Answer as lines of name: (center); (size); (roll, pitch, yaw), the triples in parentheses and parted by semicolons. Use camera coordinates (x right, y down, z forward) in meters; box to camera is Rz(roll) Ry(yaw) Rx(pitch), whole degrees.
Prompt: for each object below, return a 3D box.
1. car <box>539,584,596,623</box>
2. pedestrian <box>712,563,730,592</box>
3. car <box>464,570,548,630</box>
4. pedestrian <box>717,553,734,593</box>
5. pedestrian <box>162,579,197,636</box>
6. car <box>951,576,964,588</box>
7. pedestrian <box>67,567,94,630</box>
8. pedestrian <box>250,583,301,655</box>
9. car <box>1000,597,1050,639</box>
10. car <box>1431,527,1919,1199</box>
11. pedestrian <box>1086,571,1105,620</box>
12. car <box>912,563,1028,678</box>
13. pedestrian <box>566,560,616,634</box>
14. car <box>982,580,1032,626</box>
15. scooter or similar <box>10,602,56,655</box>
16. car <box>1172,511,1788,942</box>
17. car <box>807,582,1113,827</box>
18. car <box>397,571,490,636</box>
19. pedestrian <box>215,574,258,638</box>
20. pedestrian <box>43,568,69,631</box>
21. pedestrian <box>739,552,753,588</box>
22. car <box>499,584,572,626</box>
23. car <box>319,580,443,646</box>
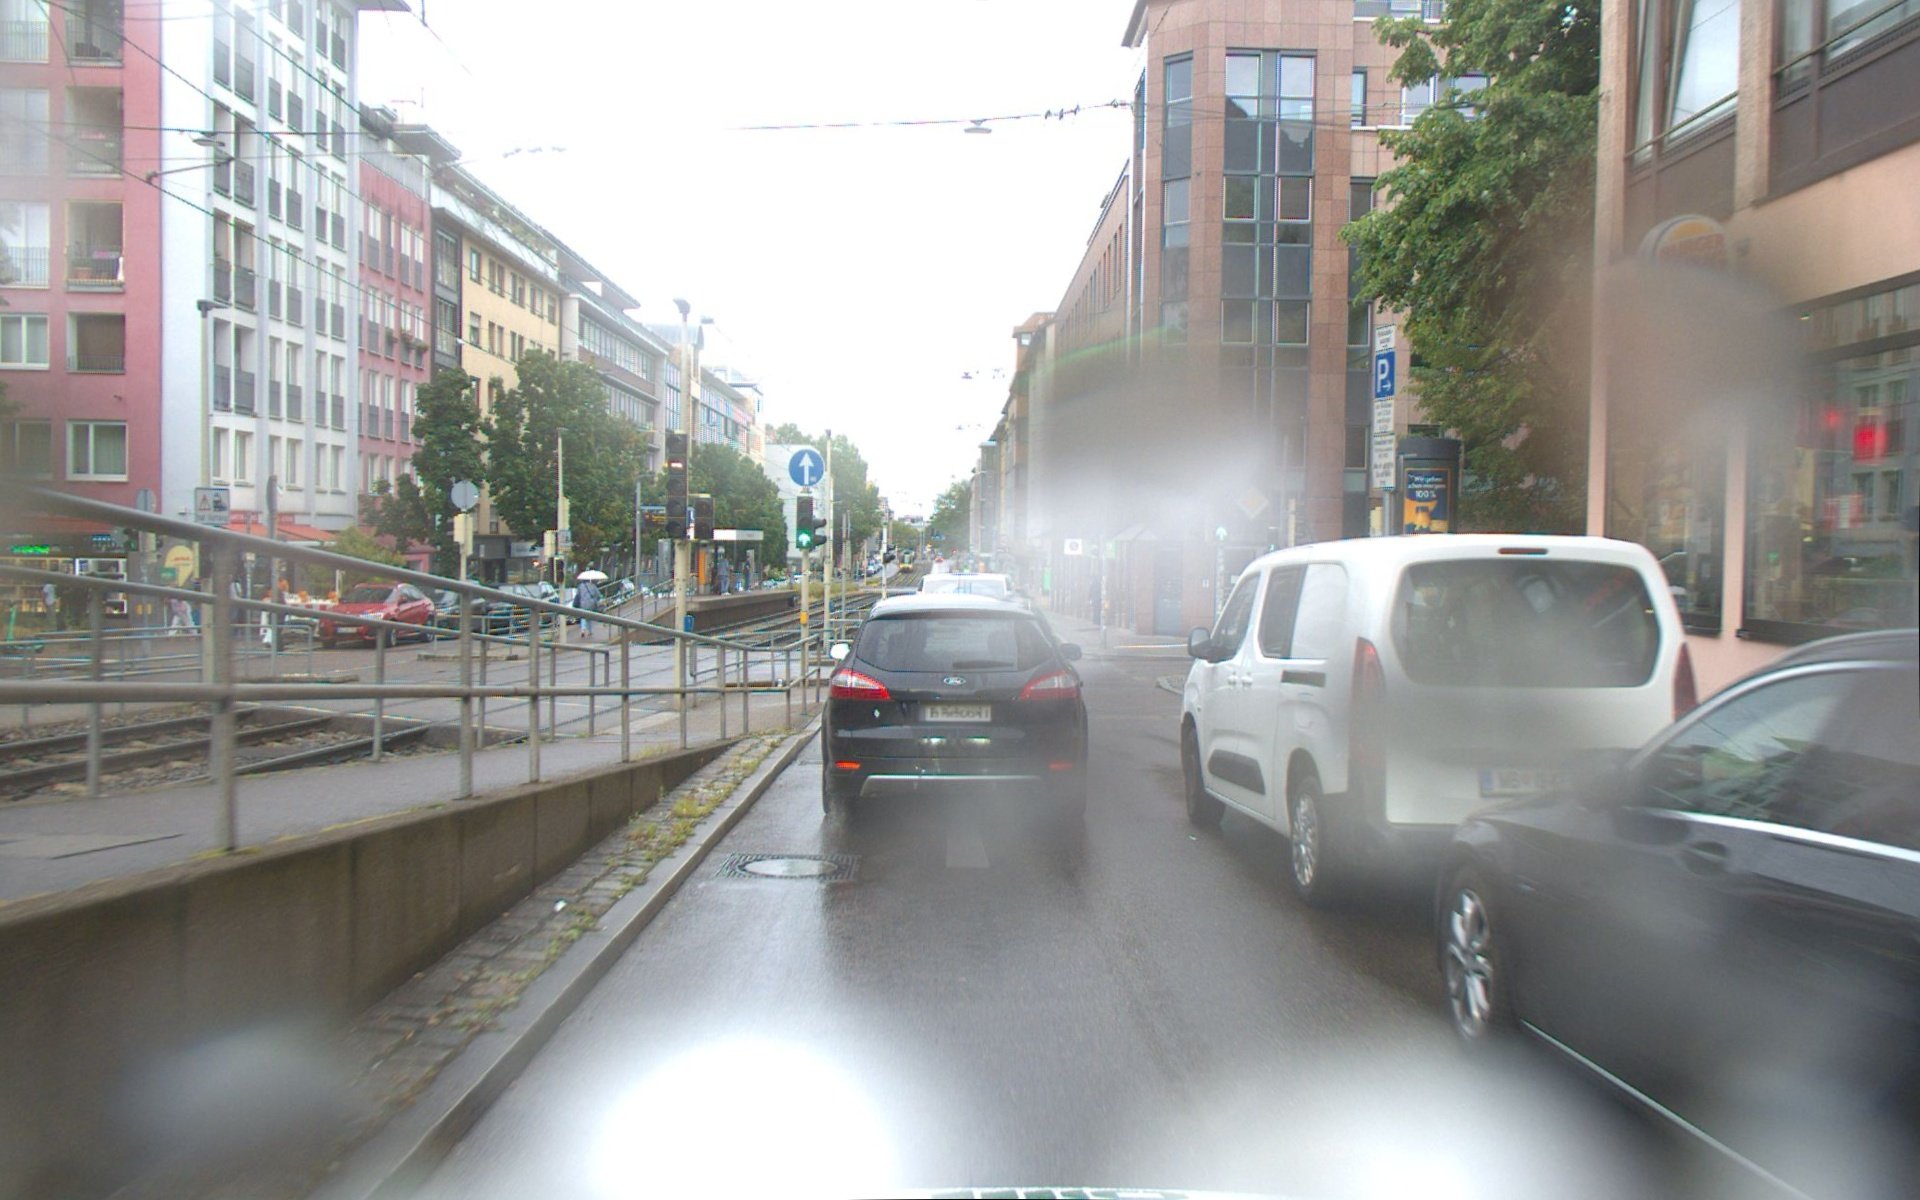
car: (-15.432, 0.129, 65.187); (1.537, 1.461, 3.976); (0, 1, -4)
pedestrian: (-10.756, -1.016, 74.475); (0.679, 1.271, 0.884); (0, 1, -3)
car: (-15.033, -0.027, 54.963); (1.766, 1.890, 4.378); (0, 1, -3)
pedestrian: (-10.232, -1.166, 72.265); (0.642, 1.741, 0.849); (0, 1, -3)
pedestrian: (-20.846, 0.193, 44.184); (0.626, 1.487, 0.656); (1, 0, -3)
car: (-0.336, -2.535, 229.397); (1.867, 1.662, 4.574); (0, 0, 0)
pedestrian: (-23.703, -0.045, 44.591); (0.539, 1.660, 0.567); (1, 0, -37)
pedestrian: (-16.401, 0.439, 39.636); (0.865, 1.660, 0.804); (2, 3, 37)
car: (2.431, 0.650, 62.757); (1.664, 1.487, 3.867); (-2, 0, 0)
car: (2.631, 0.690, 3.743); (1.867, 1.644, 4.413); (0, 0, 0)
pedestrian: (4.683, -0.146, 57.037); (0.589, 1.688, 0.625); (-1, 0, -1)
car: (0.251, 0.331, 29.561); (1.867, 1.897, 4.575); (0, 0, 3)
pedestrian: (-10.355, -0.081, 46.509); (1.093, 2.049, 1.383); (-1, 0, -1)
car: (1.638, 0.106, 58.323); (1.664, 1.505, 3.867); (-2, 0, 1)
scooter or similar: (-21.671, 0.665, 38.679); (0.381, 1.212, 1.212); (-1, 0, 1)
car: (2.548, 0.531, 9.487); (1.868, 1.838, 4.775); (0, 0, -2)
car: (-0.005, 0.631, 11.791); (1.867, 1.488, 3.444); (0, 0, 0)
car: (-15.626, 0.070, 50.238); (1.673, 1.890, 4.318); (0, 1, -3)
pedestrian: (-19.710, 0.162, 45.085); (0.804, 1.727, 0.984); (1, 0, -9)
pedestrian: (-24.372, -0.016, 44.593); (0.571, 1.660, 0.606); (1, 0, -27)
pedestrian: (-11.093, -1.562, 85.689); (0.642, 1.833, 0.849); (0, 1, -3)
car: (-15.529, 0.169, 60.670); (1.804, 1.461, 4.316); (0, 1, -4)
car: (-15.554, 0.317, 44.640); (1.690, 1.640, 4.553); (0, 1, 1)
